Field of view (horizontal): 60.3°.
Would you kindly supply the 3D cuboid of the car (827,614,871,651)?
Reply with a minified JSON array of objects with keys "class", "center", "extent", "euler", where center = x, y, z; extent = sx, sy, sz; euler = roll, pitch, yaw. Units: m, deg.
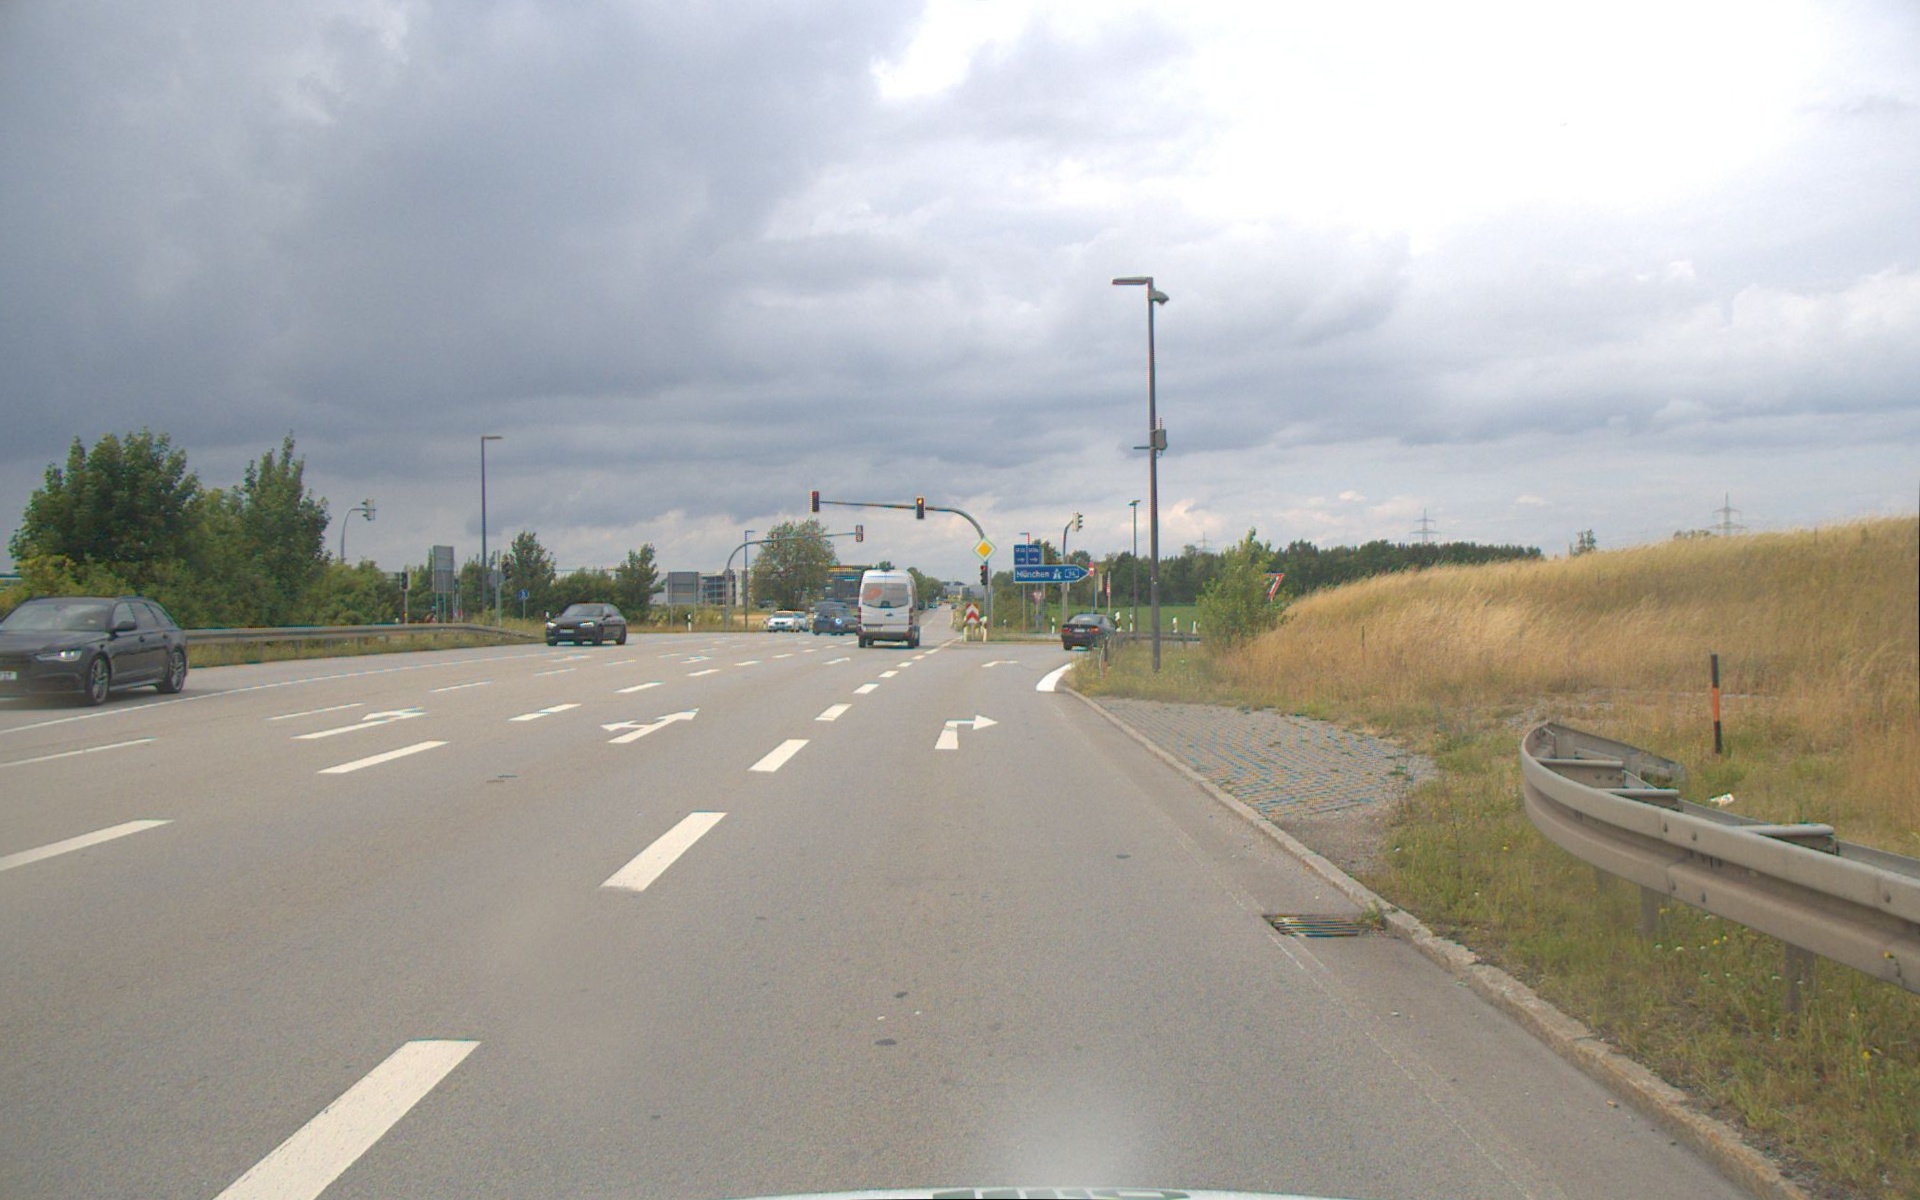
[{"class":"car","center":[-5.950,1.724,88.419],"extent":[1.611,1.884,3.733],"euler":[-1,0,-15]}]

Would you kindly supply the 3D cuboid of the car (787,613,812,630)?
[{"class":"car","center":[-11.741,1.564,121.219],"extent":[1.450,1.199,3.534],"euler":[-1,0,1]}]

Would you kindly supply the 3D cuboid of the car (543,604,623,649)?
[{"class":"car","center":[-12.874,0.901,56.688],"extent":[1.806,1.450,3.908],"euler":[-1,-1,0]}]

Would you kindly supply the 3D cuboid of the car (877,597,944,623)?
[{"class":"car","center":[-2.507,0.503,83.904],"extent":[3.101,1.288,1.482],"euler":[-1,0,30]}]

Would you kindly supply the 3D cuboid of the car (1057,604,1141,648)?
[{"class":"car","center":[5.198,0.947,61.593],"extent":[1.492,1.511,3.602],"euler":[-1,0,36]}]

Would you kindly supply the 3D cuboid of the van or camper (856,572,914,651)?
[{"class":"van or camper","center":[-2.578,0.376,57.578],"extent":[1.838,2.626,4.000],"euler":[0,0,0]}]

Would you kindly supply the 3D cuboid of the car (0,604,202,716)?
[{"class":"car","center":[-12.474,0.769,23.361],"extent":[1.774,1.392,4.779],"euler":[1,0,-6]}]

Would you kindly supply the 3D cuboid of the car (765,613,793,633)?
[{"class":"car","center":[-12.255,1.555,112.035],"extent":[1.450,1.305,3.534],"euler":[-1,0,1]}]
